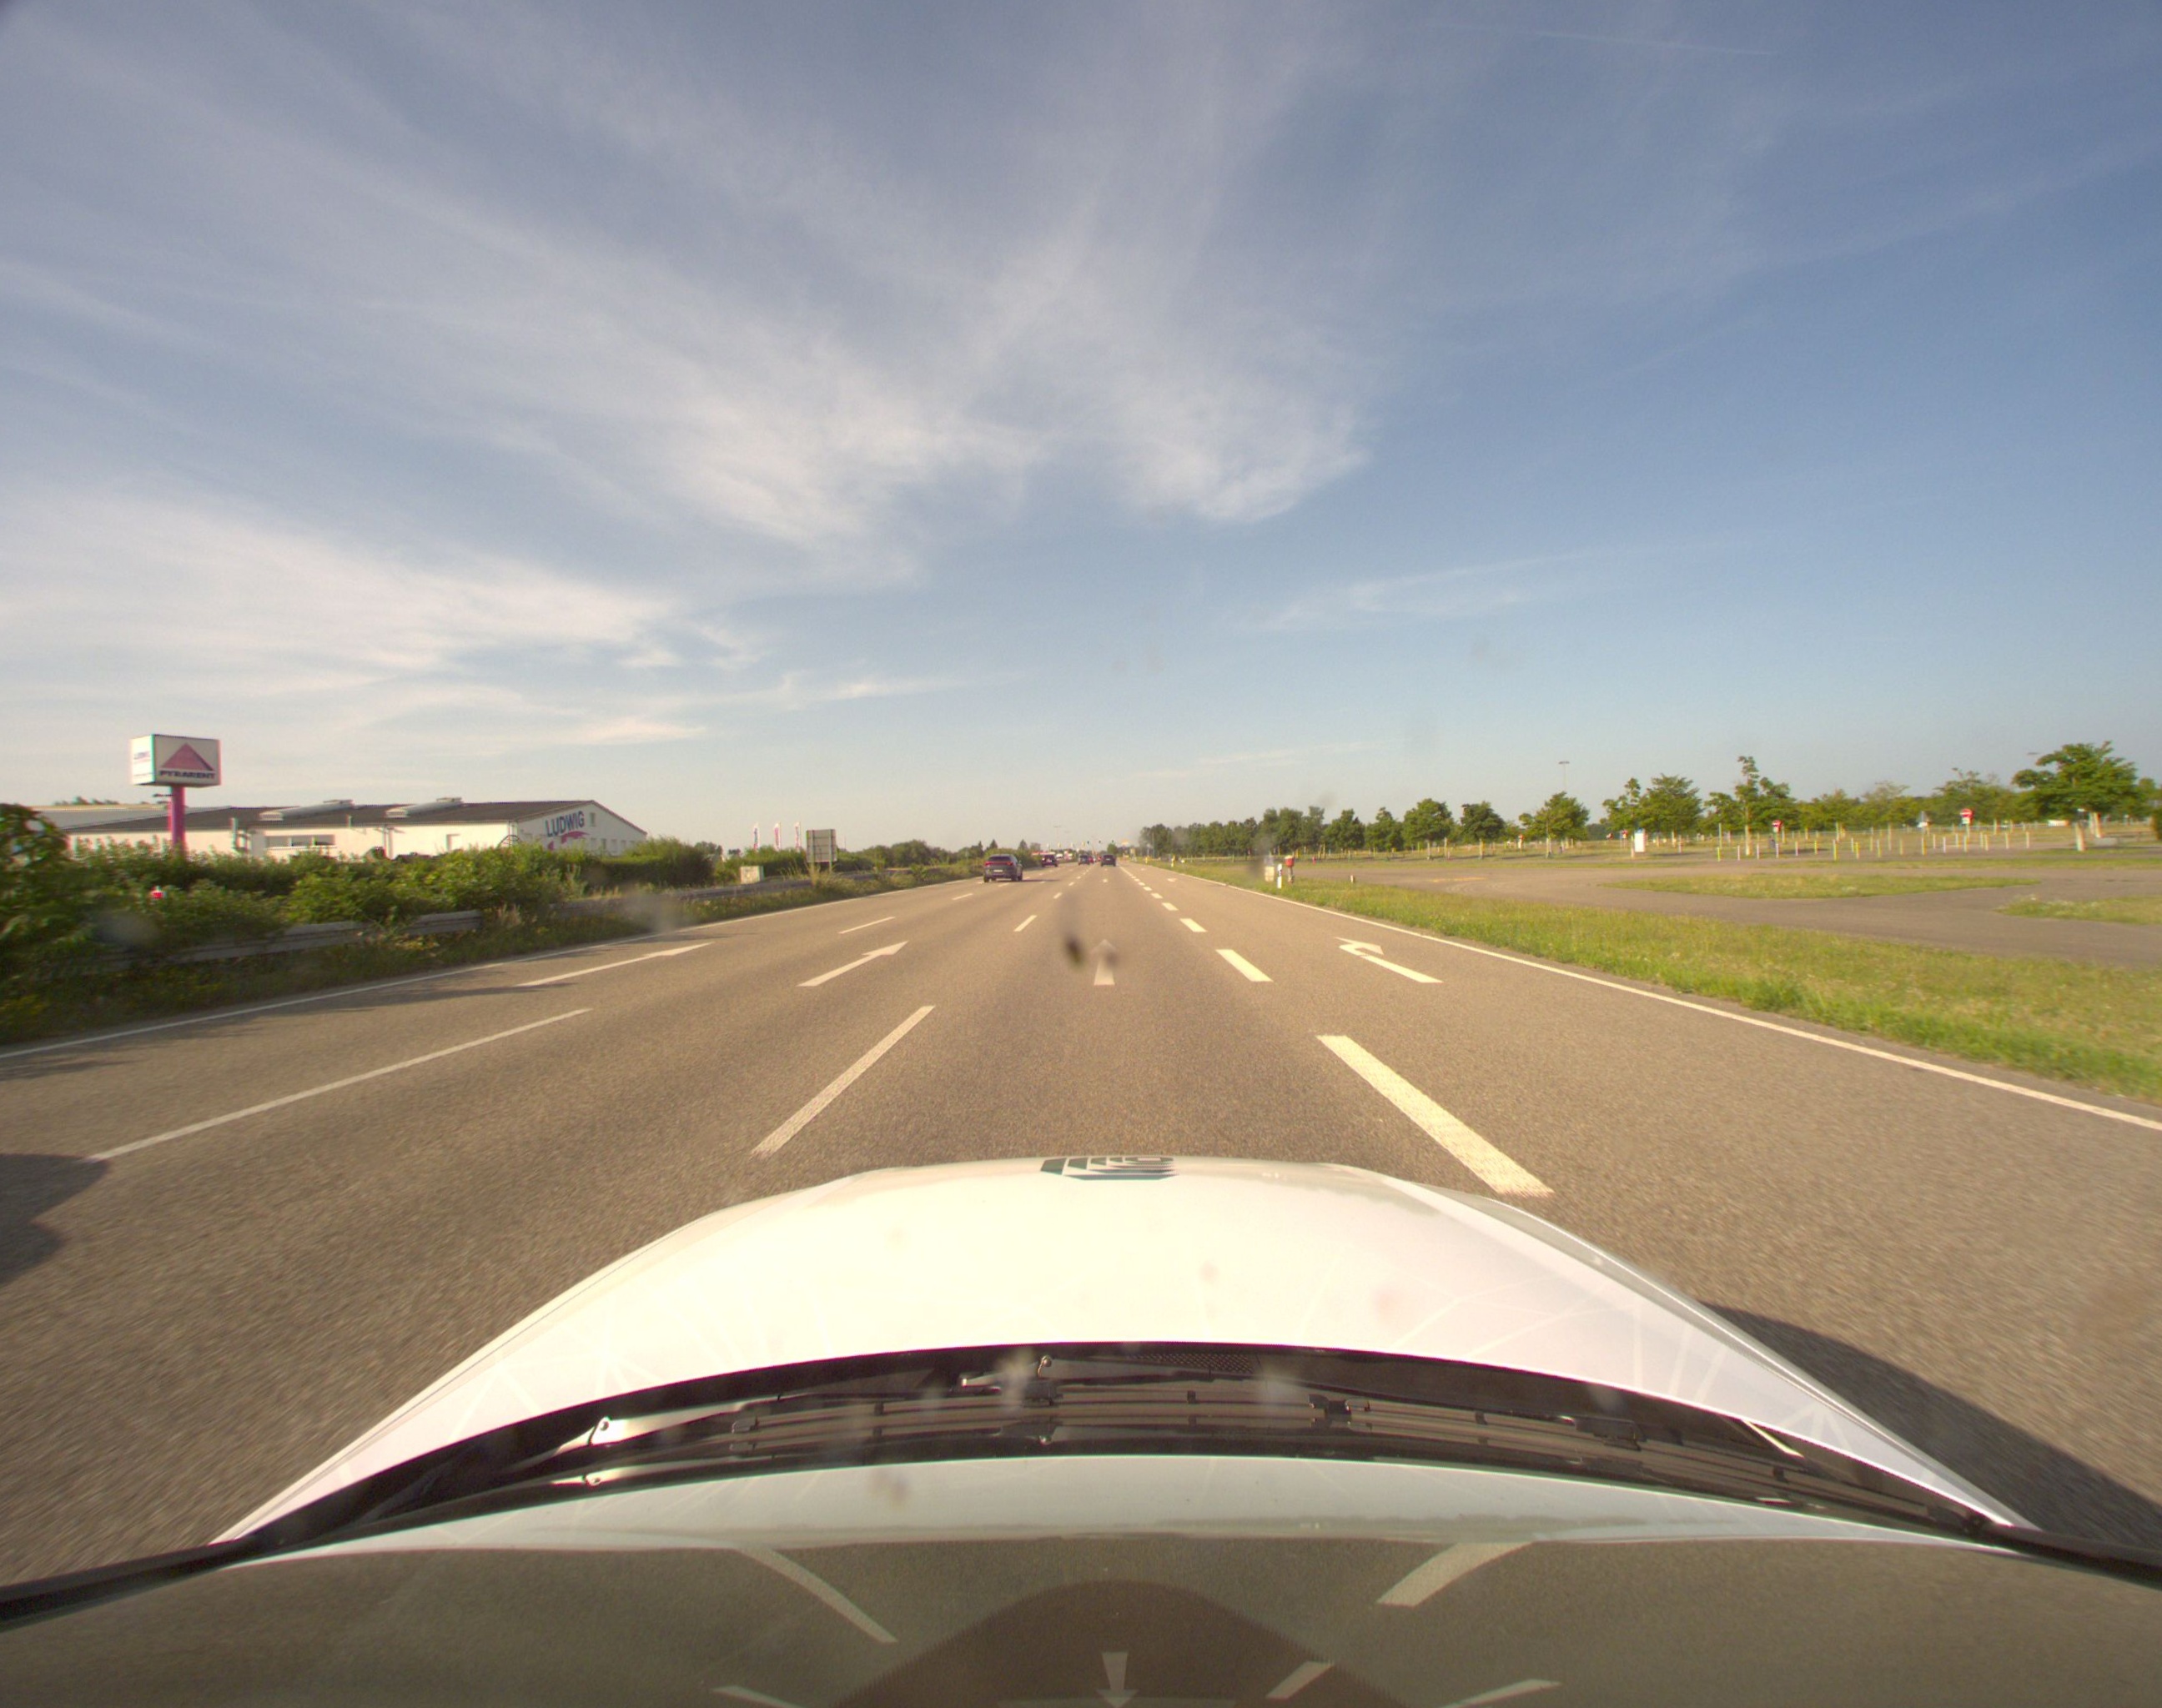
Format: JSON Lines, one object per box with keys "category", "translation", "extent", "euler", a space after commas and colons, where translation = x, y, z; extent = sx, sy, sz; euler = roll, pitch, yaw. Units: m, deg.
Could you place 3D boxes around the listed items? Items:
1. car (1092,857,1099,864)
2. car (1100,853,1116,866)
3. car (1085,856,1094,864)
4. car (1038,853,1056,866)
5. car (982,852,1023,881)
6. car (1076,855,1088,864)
{"category": "car", "translation": [3.666, 1.572, 201.941], "extent": [1.639, 1.728, 3.401], "euler": [-1, -1, 1]}
{"category": "car", "translation": [3.535, 0.731, 106.672], "extent": [1.925, 1.680, 4.402], "euler": [0, 0, 2]}
{"category": "car", "translation": [1.619, 1.116, 157.111], "extent": [1.641, 1.463, 3.982], "euler": [0, 0, 2]}
{"category": "car", "translation": [-4.370, 0.705, 105.662], "extent": [1.925, 1.680, 4.402], "euler": [0, 0, 2]}
{"category": "car", "translation": [-4.474, 0.686, 47.095], "extent": [1.839, 1.612, 4.402], "euler": [0, 0, 2]}
{"category": "car", "translation": [0.226, 0.924, 131.215], "extent": [1.806, 1.463, 4.402], "euler": [0, 0, 2]}
